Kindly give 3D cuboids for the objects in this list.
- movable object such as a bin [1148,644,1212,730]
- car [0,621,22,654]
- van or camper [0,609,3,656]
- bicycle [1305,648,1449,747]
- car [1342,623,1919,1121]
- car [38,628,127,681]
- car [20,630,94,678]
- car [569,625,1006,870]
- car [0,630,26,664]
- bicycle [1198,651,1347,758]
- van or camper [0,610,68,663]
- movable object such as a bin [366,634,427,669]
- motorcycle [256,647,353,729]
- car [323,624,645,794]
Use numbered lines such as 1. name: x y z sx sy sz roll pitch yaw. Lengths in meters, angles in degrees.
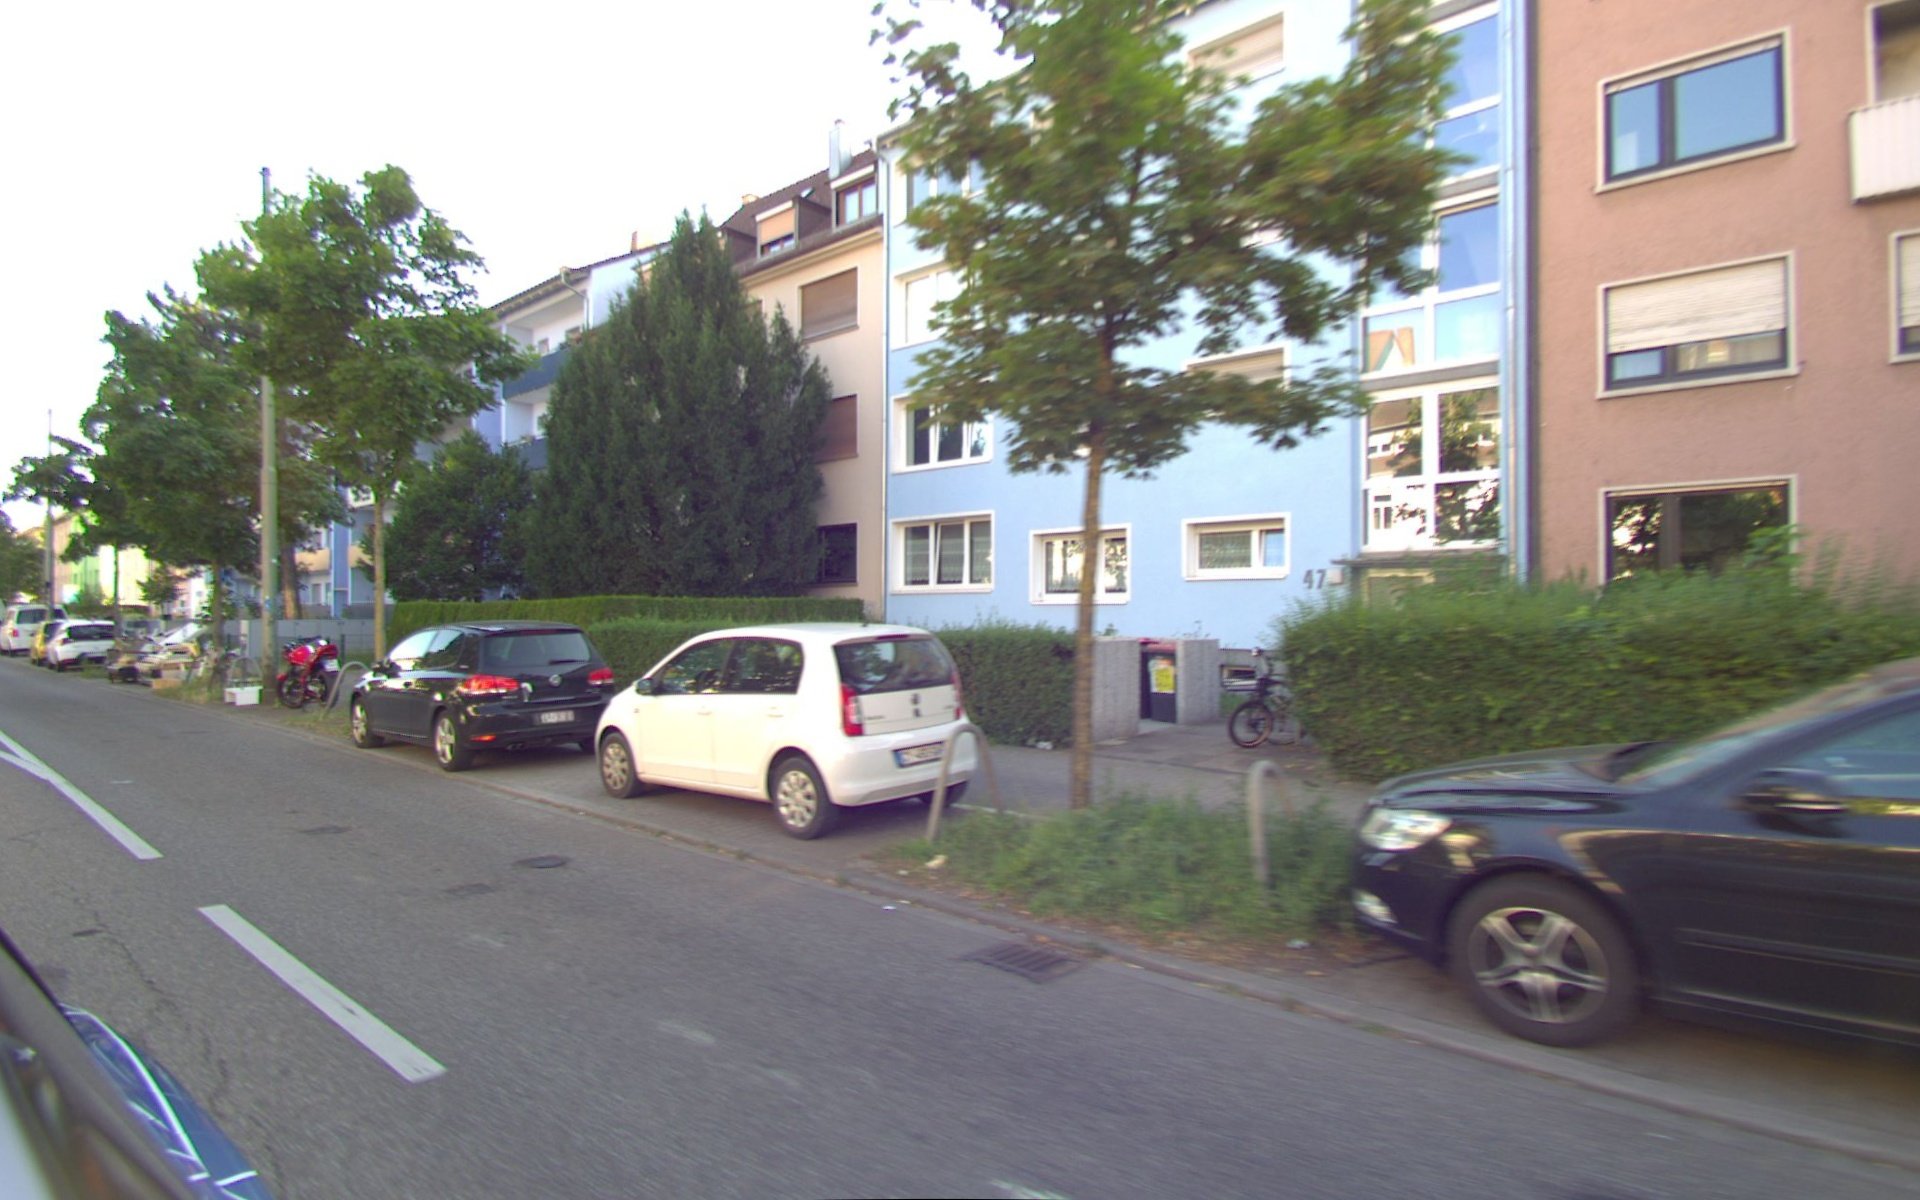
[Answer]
1. movable object such as a bin: 2.923 1.136 13.424 0.558 1.096 0.723 -2 -3 40
2. car: -47.959 1.847 50.239 3.957 1.603 1.784 -2 -2 43
3. van or camper: -54.604 1.802 56.005 5.333 2.562 1.892 -2 -2 42
4. bicycle: 4.700 1.083 11.491 1.467 1.058 0.531 -1 -2 19
5. car: 3.864 0.811 3.373 4.456 1.459 1.972 -1 -2 41
6. car: -26.514 1.598 30.537 3.881 1.454 1.661 -2 -1 44
7. car: -30.279 1.780 33.901 3.490 1.480 1.556 -2 -1 44
8. car: -1.531 0.982 8.236 3.640 1.503 1.574 -1 -1 41
9. car: -44.381 2.139 46.567 3.957 1.509 1.784 -2 -2 43
10. bicycle: 3.293 1.077 10.699 1.468 1.058 0.531 -1 -2 20
11. van or camper: -37.741 1.442 40.959 4.861 2.029 1.785 -1 -2 41
12. movable object such as a bin: -18.006 1.634 32.364 1.060 1.057 1.446 -2 -2 42
13. motorcycle: -10.315 1.344 15.889 2.170 1.145 0.632 -1 0 39
14. car: -5.521 1.061 11.471 4.315 1.529 1.817 -2 -1 43
